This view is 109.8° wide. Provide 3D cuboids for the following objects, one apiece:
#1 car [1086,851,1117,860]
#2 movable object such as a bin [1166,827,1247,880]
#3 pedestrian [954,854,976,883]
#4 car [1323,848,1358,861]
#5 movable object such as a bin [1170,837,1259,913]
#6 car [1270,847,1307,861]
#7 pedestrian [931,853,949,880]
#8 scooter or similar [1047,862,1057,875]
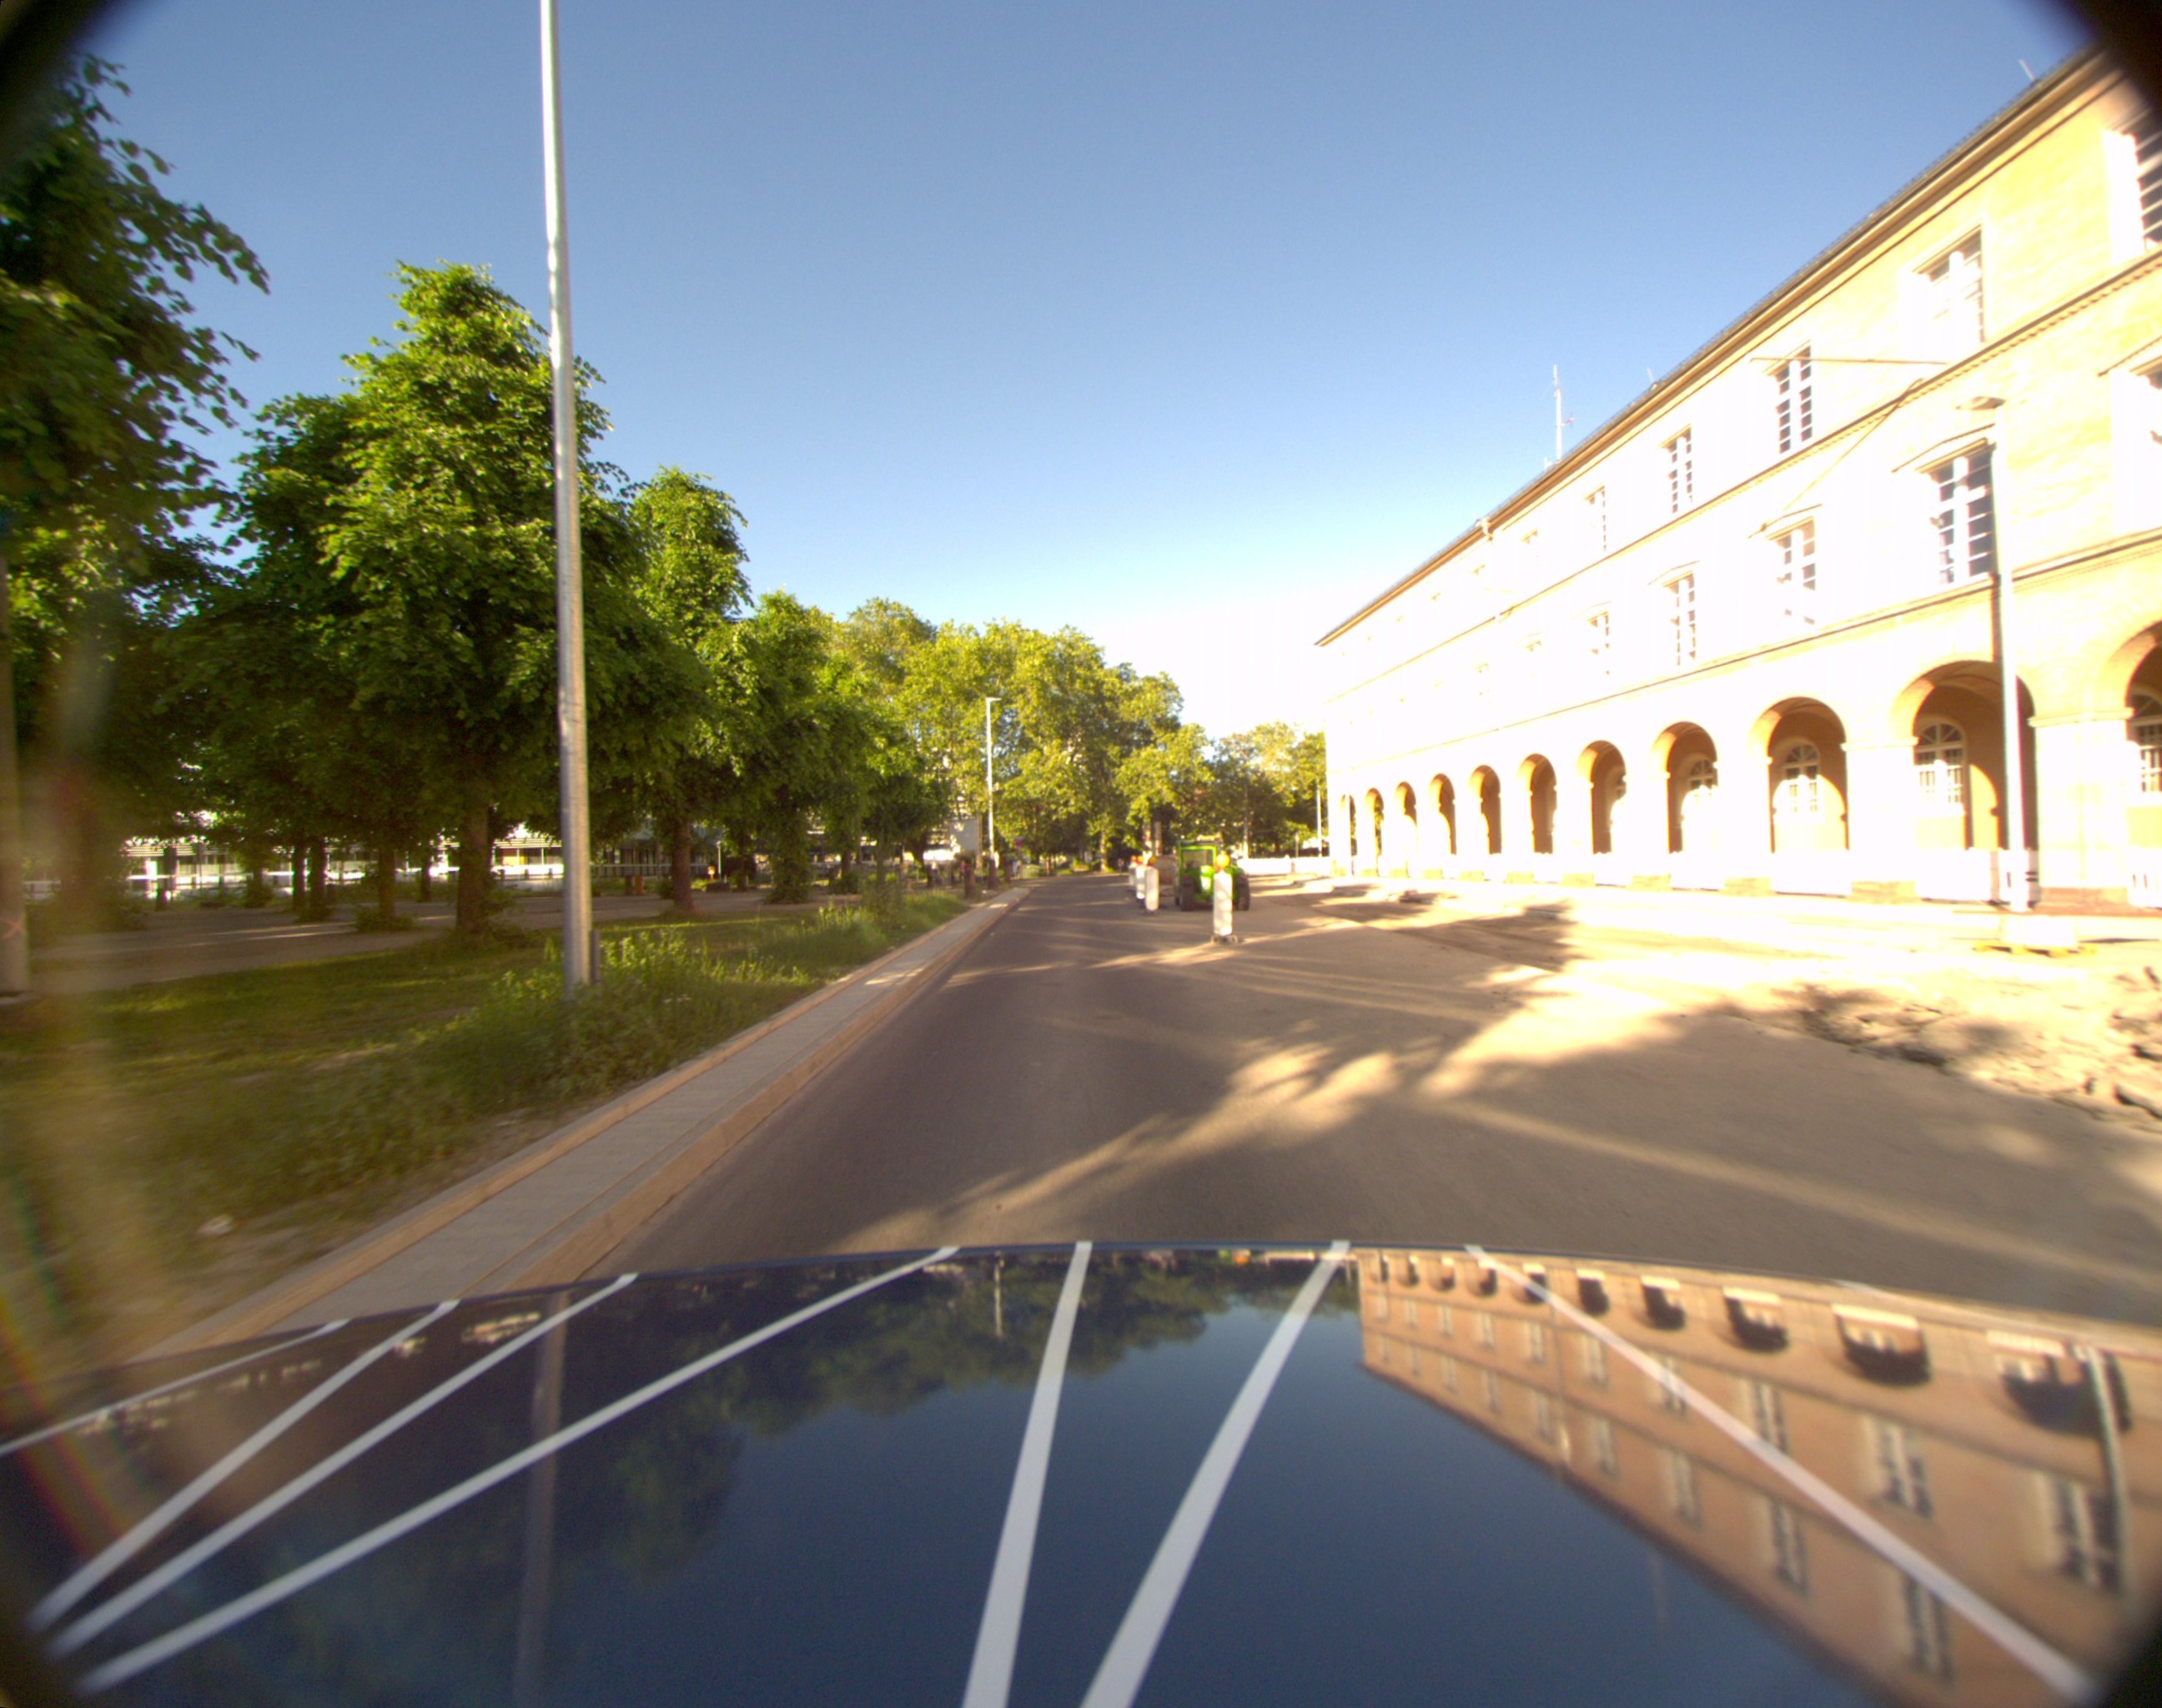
[{"bbox_3d":[3.305,0.255,123.283,4.657,1.466,2.013,-1,-1,-9],"label":"car"},{"bbox_3d":[7.780,-0.062,46.446,2.560,3.014,5.943,0,1,34],"label":"movable object such as a bin"},{"bbox_3d":[-6.501,0.821,42.577,0.941,1.614,0.708,-2,1,-41],"label":"pedestrian"},{"bbox_3d":[34.957,0.066,102.316,4.000,1.616,1.923,-1,-1,-9],"label":"car"},{"bbox_3d":[3.750,0.595,22.059,2.054,1.937,4.336,-1,-1,4],"label":"movable object such as a bin"},{"bbox_3d":[25.326,0.000,92.714,4.000,1.616,1.552,-1,-1,-9],"label":"car"},{"bbox_3d":[-9.798,0.855,52.784,1.134,1.801,0.747,-1,-1,-13],"label":"pedestrian"},{"bbox_3d":[-2.144,1.049,55.421,0.420,0.909,1.148,-3,2,-17],"label":"scooter or similar"}]
